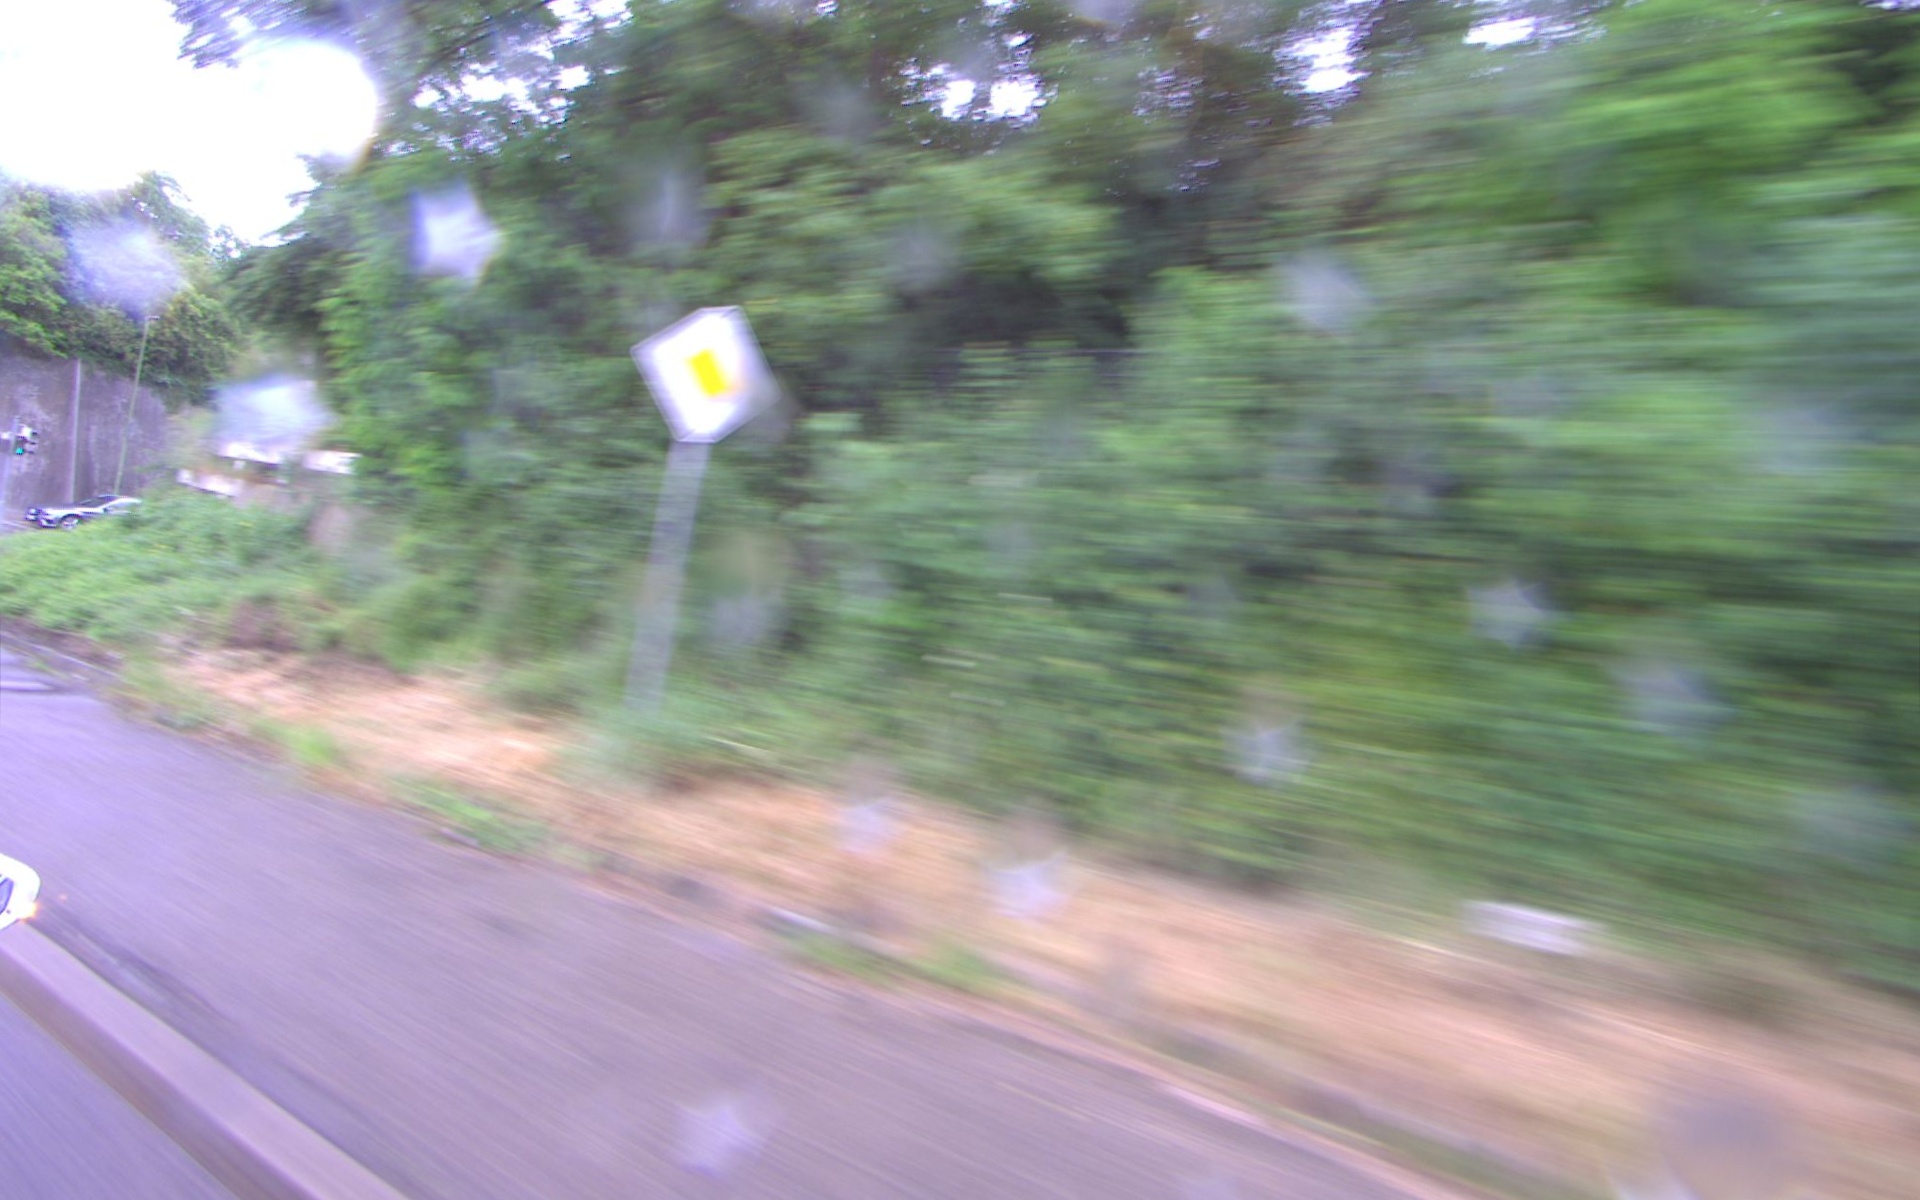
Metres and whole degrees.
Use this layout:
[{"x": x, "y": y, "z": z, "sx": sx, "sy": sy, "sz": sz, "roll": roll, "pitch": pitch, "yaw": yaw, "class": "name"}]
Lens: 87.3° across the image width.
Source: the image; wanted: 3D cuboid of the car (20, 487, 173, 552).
[{"x": -30.238, "y": -2.784, "z": 35.352, "sx": 1.464, "sy": 1.681, "sz": 3.711, "roll": 6, "pitch": -2, "yaw": 25, "class": "car"}]
